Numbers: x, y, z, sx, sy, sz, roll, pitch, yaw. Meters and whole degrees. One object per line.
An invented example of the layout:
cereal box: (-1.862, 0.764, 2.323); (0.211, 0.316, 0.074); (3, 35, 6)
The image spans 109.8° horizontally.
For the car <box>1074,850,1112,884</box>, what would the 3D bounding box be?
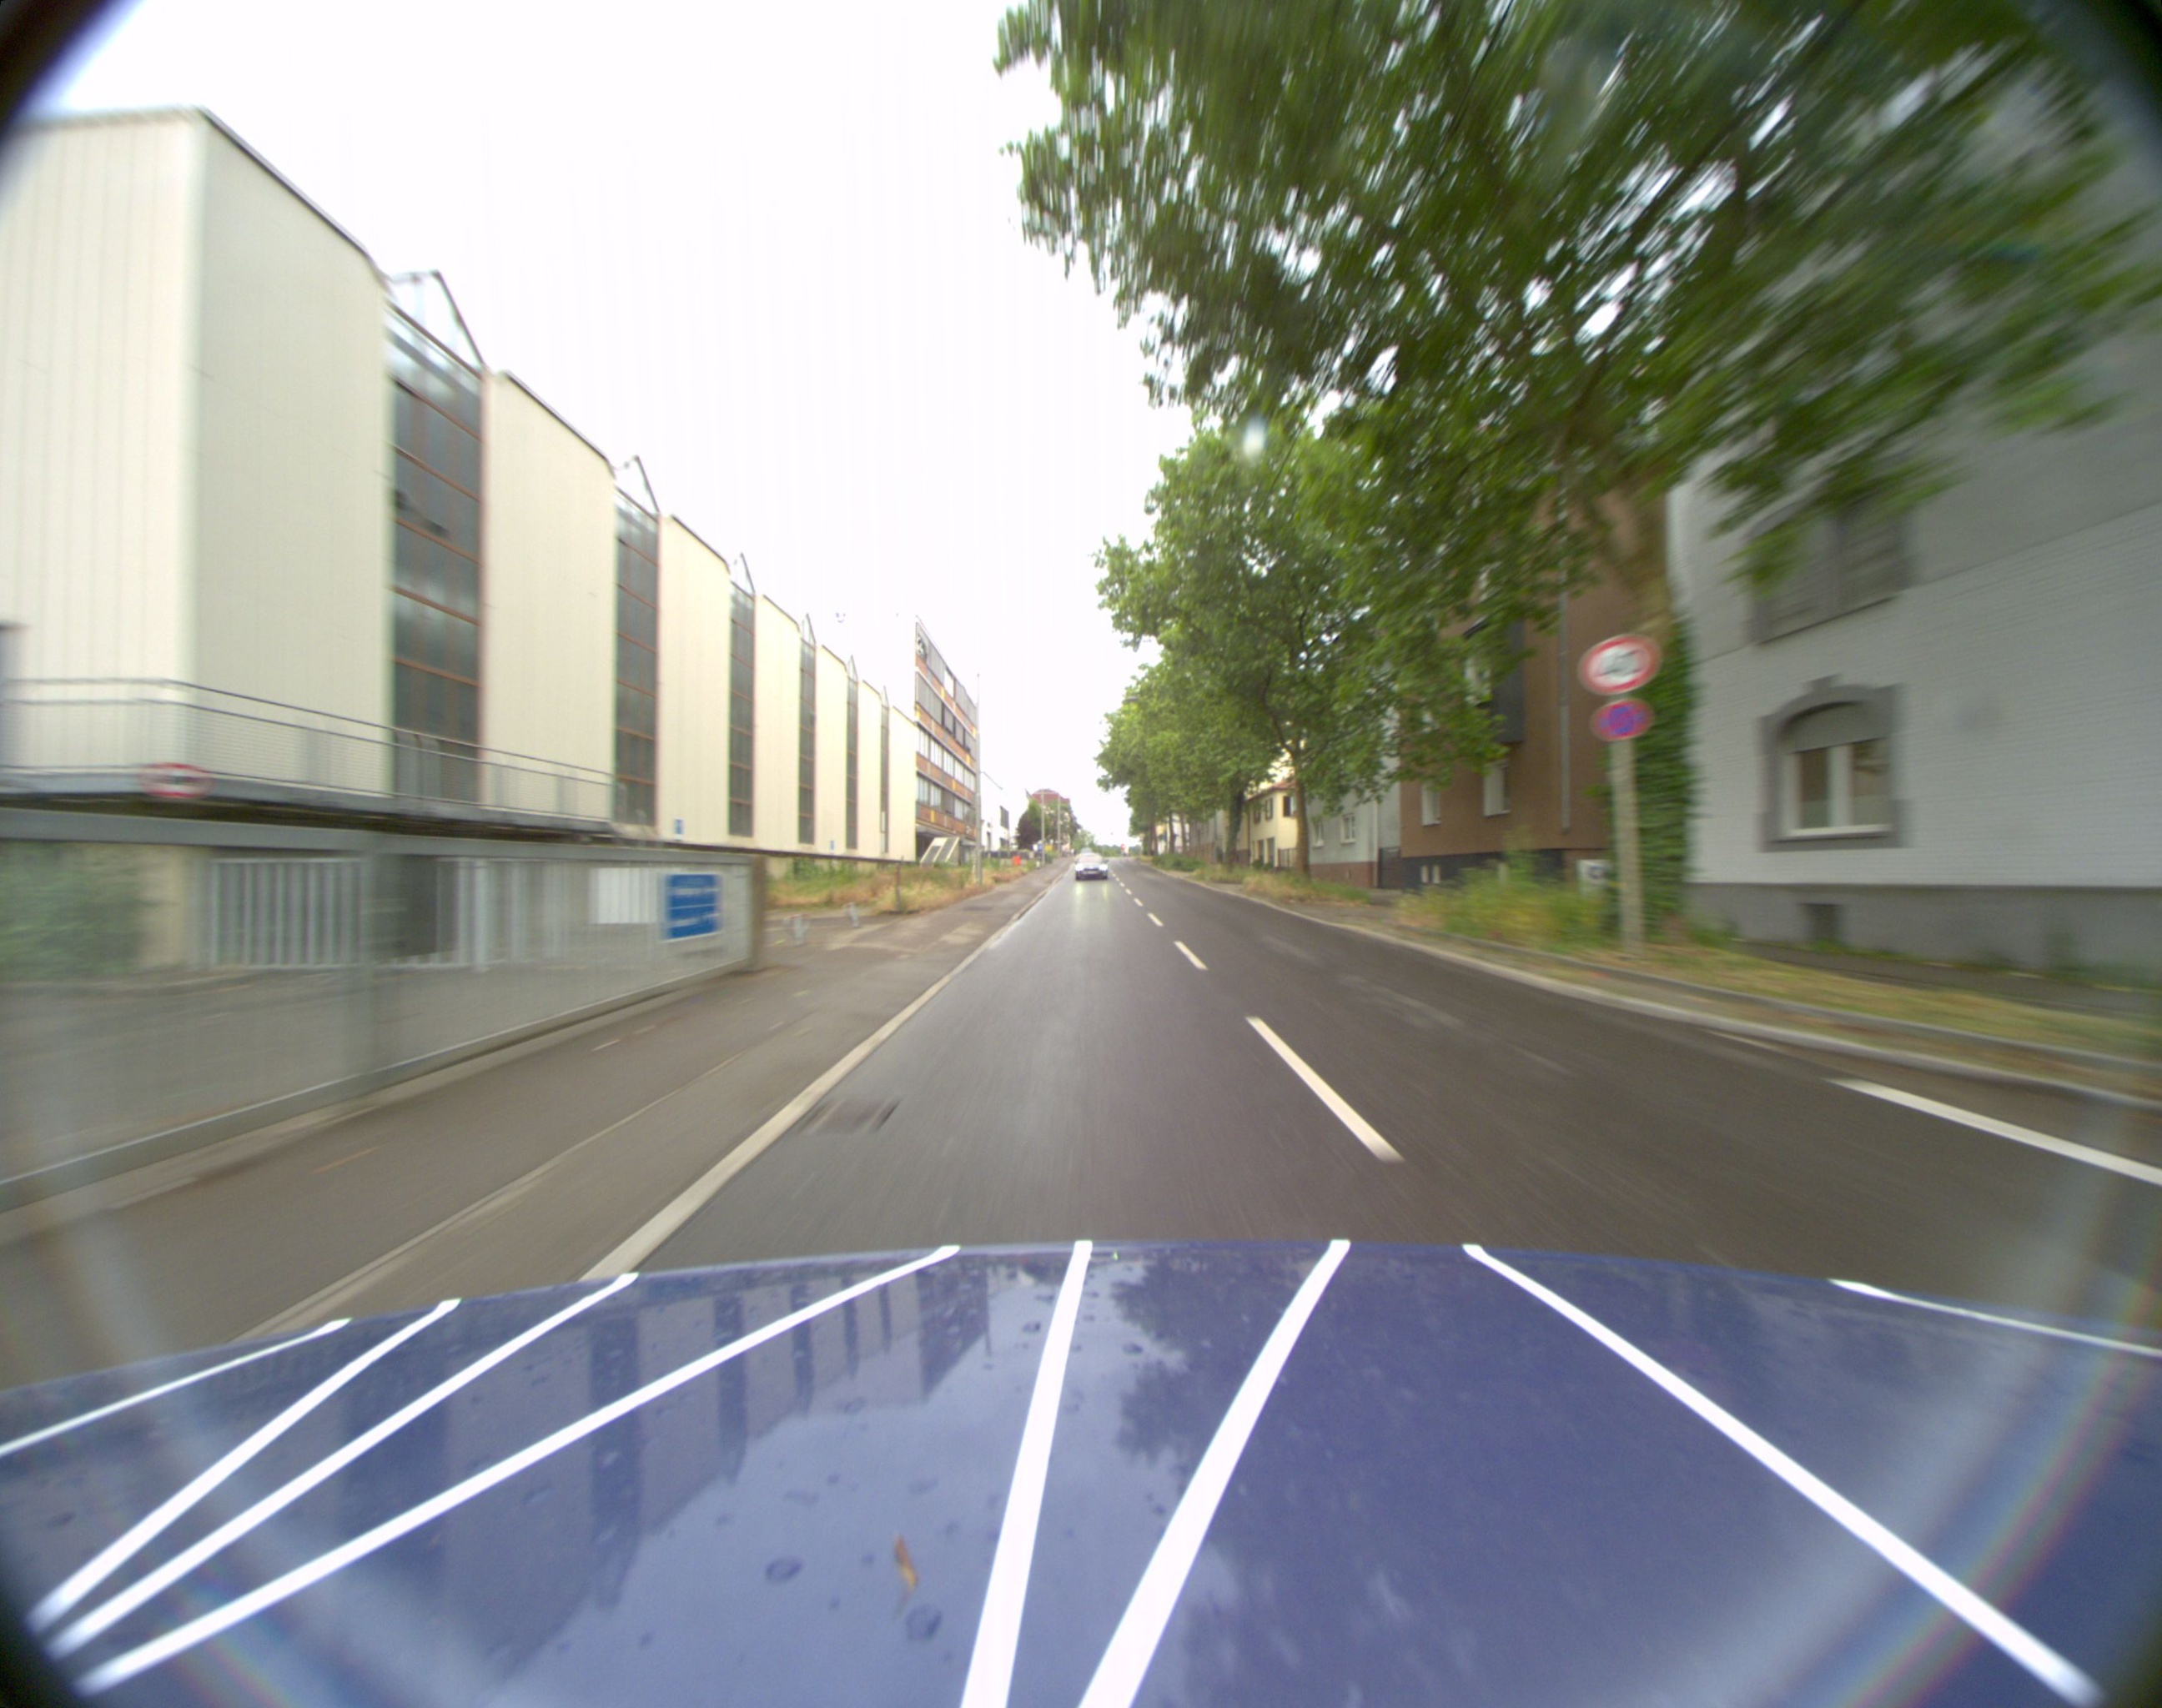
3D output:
car: (0.635, 0.679, 42.098); (1.949, 1.644, 3.858); (-1, 2, 0)
